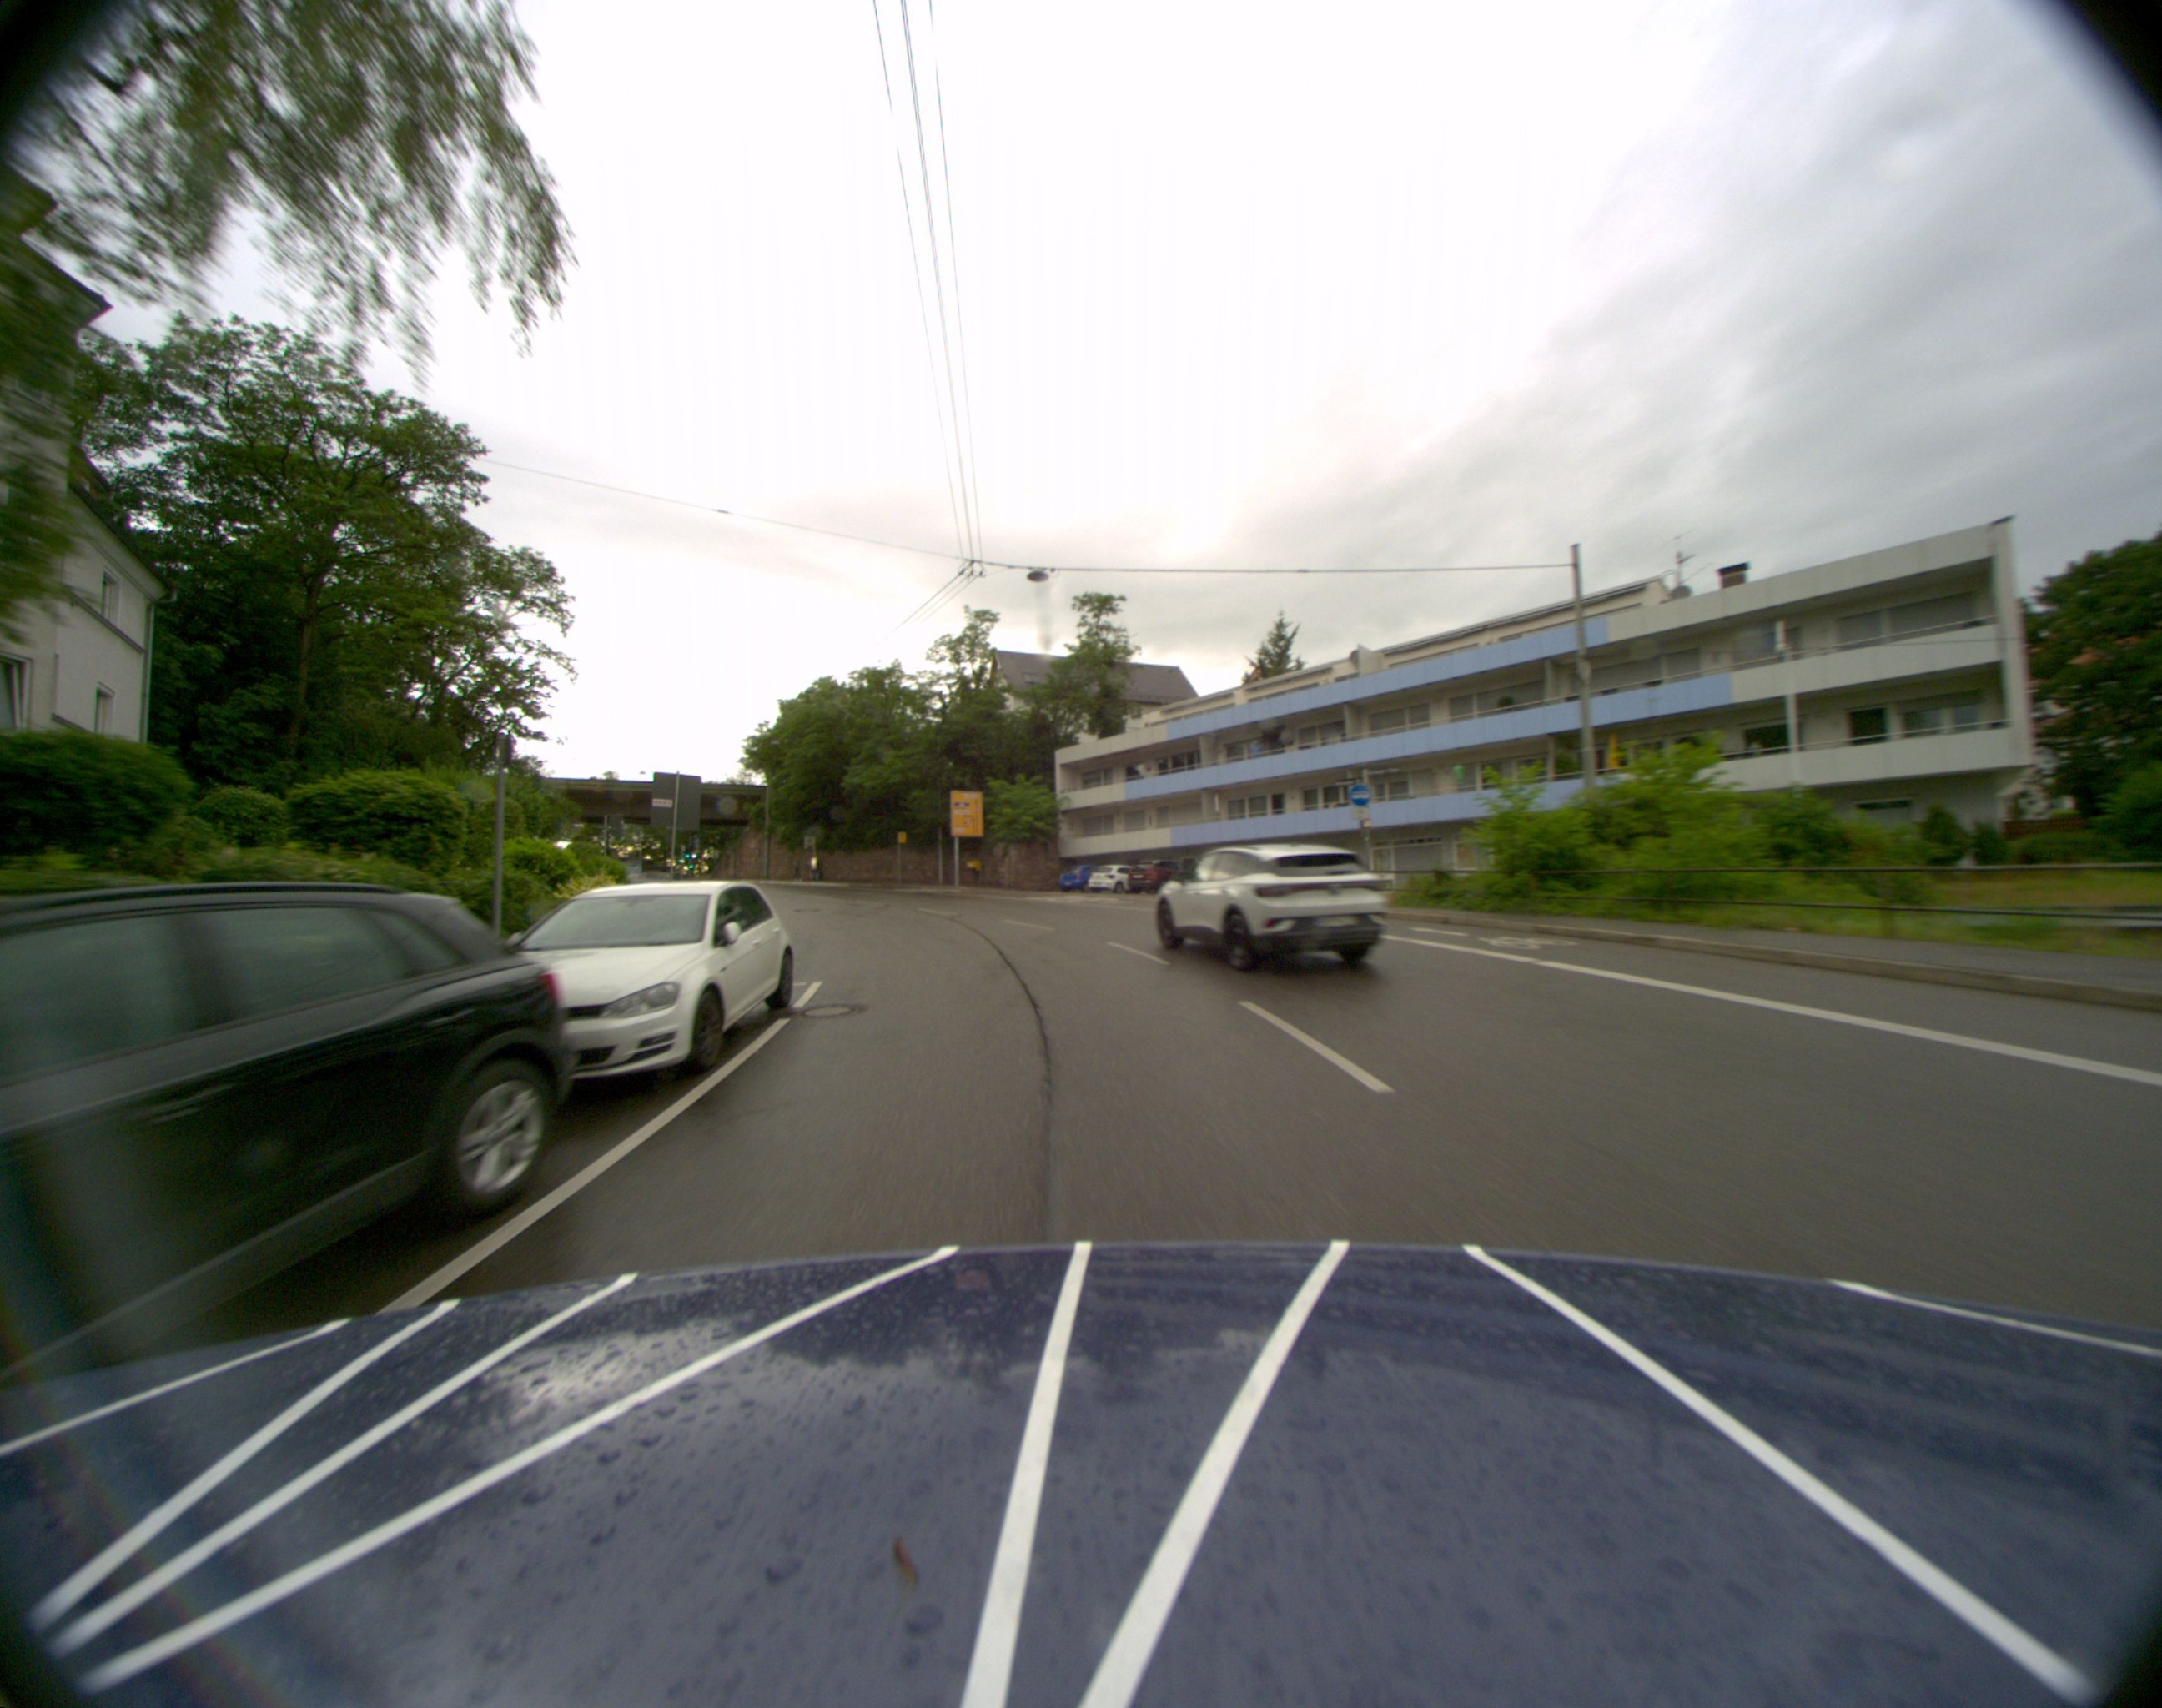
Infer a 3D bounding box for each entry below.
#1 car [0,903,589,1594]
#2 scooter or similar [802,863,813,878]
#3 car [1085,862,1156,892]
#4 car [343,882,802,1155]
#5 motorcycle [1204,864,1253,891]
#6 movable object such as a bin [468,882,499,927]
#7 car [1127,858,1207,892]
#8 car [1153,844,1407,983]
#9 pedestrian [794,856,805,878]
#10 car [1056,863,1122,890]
[{"bbox_3d":[-3.424,1.042,1.900,1.629,1.510,4.326,-2,0,-2],"label":"car"},{"bbox_3d":[-21.490,1.308,59.672,0.375,1.175,1.122,-1,2,-44],"label":"scooter or similar"},{"bbox_3d":[2.038,1.191,38.831,3.450,1.436,1.703,3,-3,-44],"label":"car"},{"bbox_3d":[-3.940,1.101,6.875,1.795,1.438,4.102,-3,1,-9],"label":"car"},{"bbox_3d":[7.339,1.160,37.826,2.329,1.302,0.575,1,1,31],"label":"motorcycle"},{"bbox_3d":[-14.230,1.200,18.120,0.532,1.007,0.688,-1,1,-35],"label":"movable object such as a bin"},{"bbox_3d":[4.110,0.997,35.947,1.711,1.540,3.945,-1,-2,44],"label":"car"},{"bbox_3d":[2.564,0.715,11.004,1.832,1.597,4.281,1,-1,-12],"label":"car"},{"bbox_3d":[-21.833,1.015,58.876,0.621,1.722,0.590,1,2,44],"label":"pedestrian"},{"bbox_3d":[0.463,1.237,40.870,1.632,1.382,3.450,0,-2,42],"label":"car"}]
